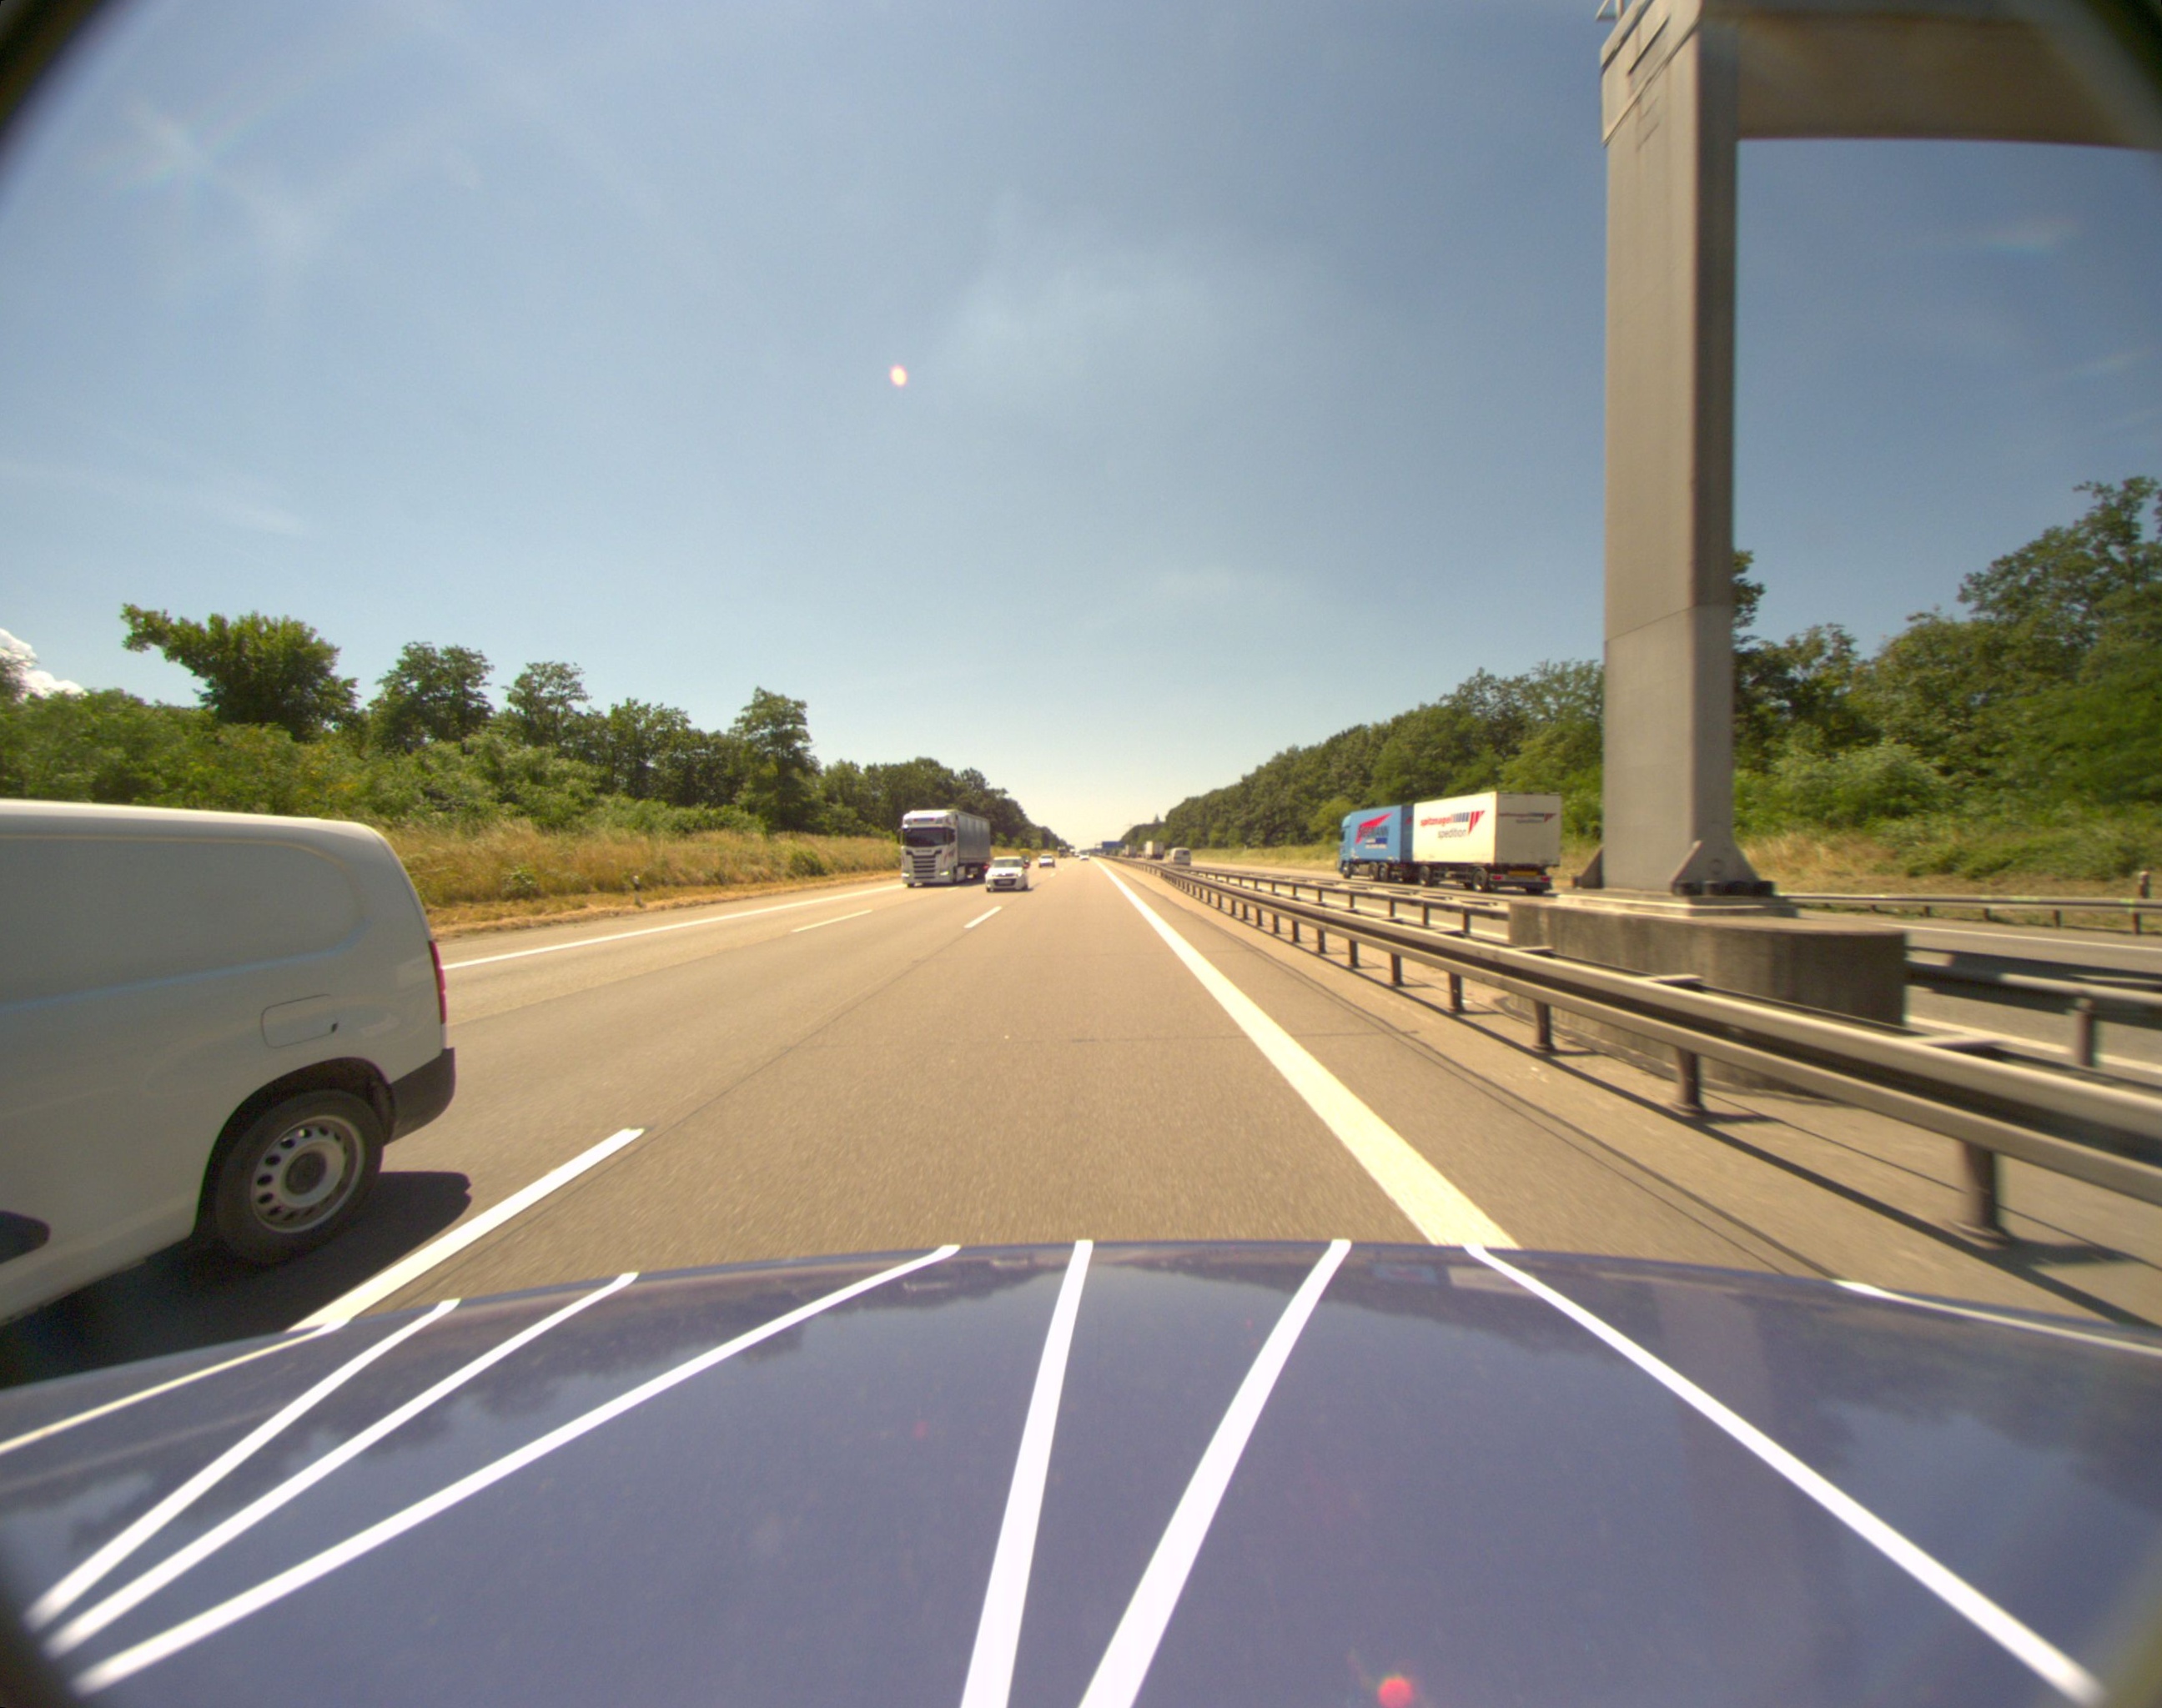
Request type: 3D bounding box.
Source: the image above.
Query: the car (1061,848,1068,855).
[{"bbox_3d":[-5.344,-0.890,246.357,1.998,2.002,4.000,-2,1,1],"label":"car"}]

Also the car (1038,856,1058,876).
[{"bbox_3d":[-3.602,1.297,83.824,1.998,2.002,4.000,-2,1,1],"label":"car"}]

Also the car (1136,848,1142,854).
[{"bbox_3d":[20.157,-1.110,264.239,1.836,1.844,5.236,1,1,0],"label":"car"}]

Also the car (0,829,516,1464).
[{"bbox_3d":[-4.040,0.870,1.634,1.870,1.807,4.940,-2,1,0],"label":"car"}]

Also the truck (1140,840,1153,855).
[{"bbox_3d":[18.932,-1.995,219.183,2.940,4.160,6.039,2,1,0],"label":"truck"}]

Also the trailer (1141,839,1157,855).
[{"bbox_3d":[18.907,-1.937,212.472,2.940,4.160,13.853,2,1,0],"label":"trailer"}]

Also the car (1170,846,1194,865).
[{"bbox_3d":[10.402,0.112,78.507,1.836,1.844,5.236,1,1,0],"label":"car"}]

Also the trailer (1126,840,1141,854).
[{"bbox_3d":[15.879,-2.147,232.331,3.539,4.160,13.661,2,1,0],"label":"trailer"}]

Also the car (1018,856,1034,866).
[{"bbox_3d":[-7.403,0.954,102.374,1.845,1.275,3.352,-2,1,1],"label":"car"}]

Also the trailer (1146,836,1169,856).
[{"bbox_3d":[16.757,-1.724,167.999,3.539,4.160,13.604,2,1,0],"label":"trailer"}]

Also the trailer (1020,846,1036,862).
[{"bbox_3d":[-7.402,-0.024,105.634,1.849,2.196,3.197,-2,1,1],"label":"trailer"}]

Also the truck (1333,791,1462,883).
[{"bbox_3d":[17.493,-0.881,43.038,3.065,4.532,10.458,0,0,1],"label":"truck"}]

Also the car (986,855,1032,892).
[{"bbox_3d":[-3.044,0.799,32.576,1.581,1.412,3.352,-2,1,1],"label":"car"}]

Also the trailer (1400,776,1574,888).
[{"bbox_3d":[17.304,-0.866,33.305,3.065,4.258,8.634,0,1,1],"label":"trailer"}]

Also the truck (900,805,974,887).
[{"bbox_3d":[-7.620,-0.432,41.102,2.603,3.980,6.173,-2,1,1],"label":"truck"}]

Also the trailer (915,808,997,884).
[{"bbox_3d":[-7.550,-0.495,48.239,2.603,3.980,14.079,-2,1,1],"label":"trailer"}]

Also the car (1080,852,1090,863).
[{"bbox_3d":[0.784,0.693,150.410,1.998,2.002,4.000,-2,1,1],"label":"car"}]
